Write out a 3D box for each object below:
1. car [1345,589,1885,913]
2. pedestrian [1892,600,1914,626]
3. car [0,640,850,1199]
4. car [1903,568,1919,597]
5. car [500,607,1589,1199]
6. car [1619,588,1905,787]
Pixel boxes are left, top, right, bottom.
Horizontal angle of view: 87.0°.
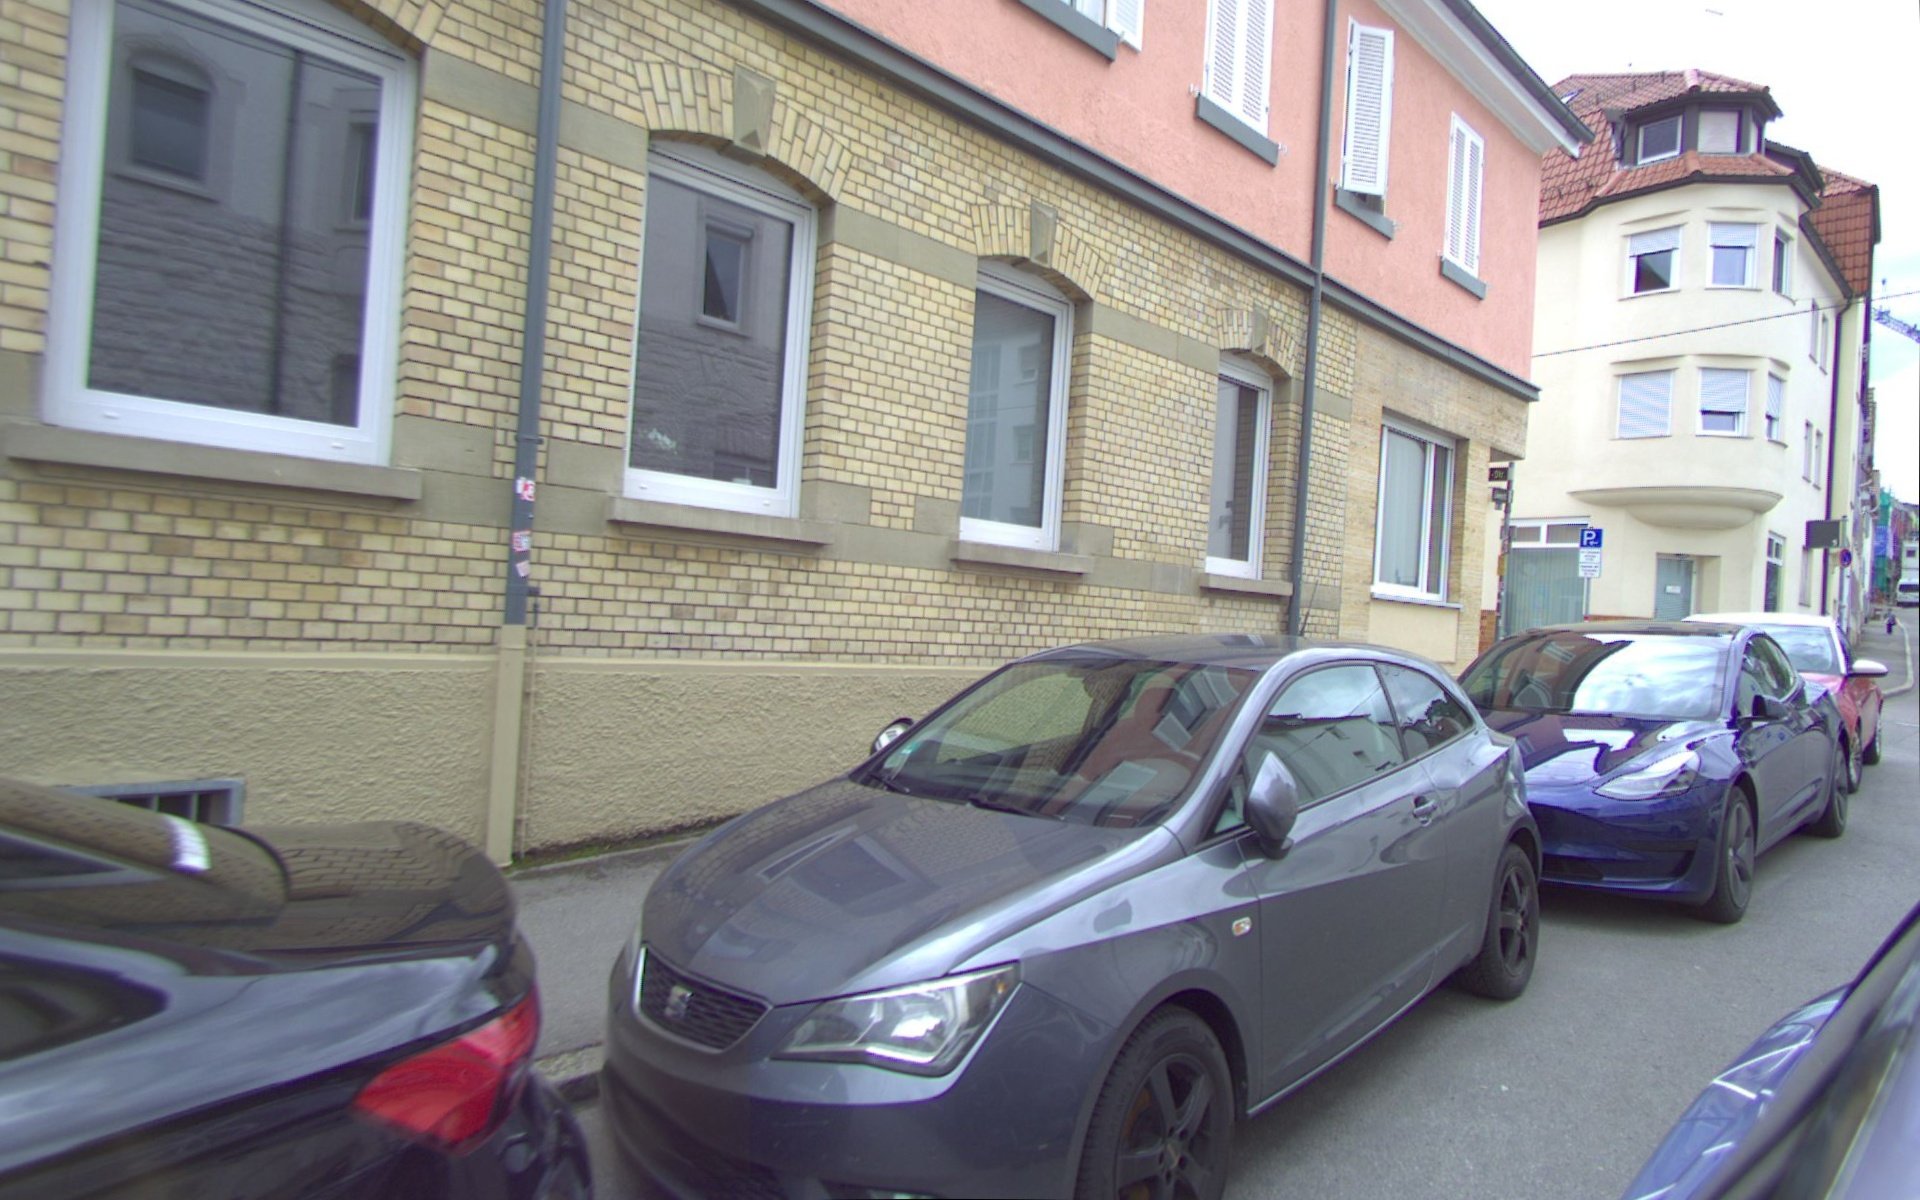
[{"bbox_3d":[4.424,0.680,6.551,4.217,1.421,1.855,1,0,-41],"label":"car"},{"bbox_3d":[55.507,0.746,59.573,0.750,1.507,0.560,3,0,30],"label":"pedestrian"},{"bbox_3d":[-2.452,0.812,0.743,4.497,1.421,1.855,1,0,-43],"label":"car"},{"bbox_3d":[91.690,-1.633,96.621,2.188,2.677,5.737,5,4,42],"label":"car"},{"bbox_3d":[0.684,0.764,3.681,3.901,1.421,1.854,1,0,-44],"label":"car"},{"bbox_3d":[7.797,0.695,9.728,3.565,1.498,1.669,1,1,-44],"label":"car"}]
